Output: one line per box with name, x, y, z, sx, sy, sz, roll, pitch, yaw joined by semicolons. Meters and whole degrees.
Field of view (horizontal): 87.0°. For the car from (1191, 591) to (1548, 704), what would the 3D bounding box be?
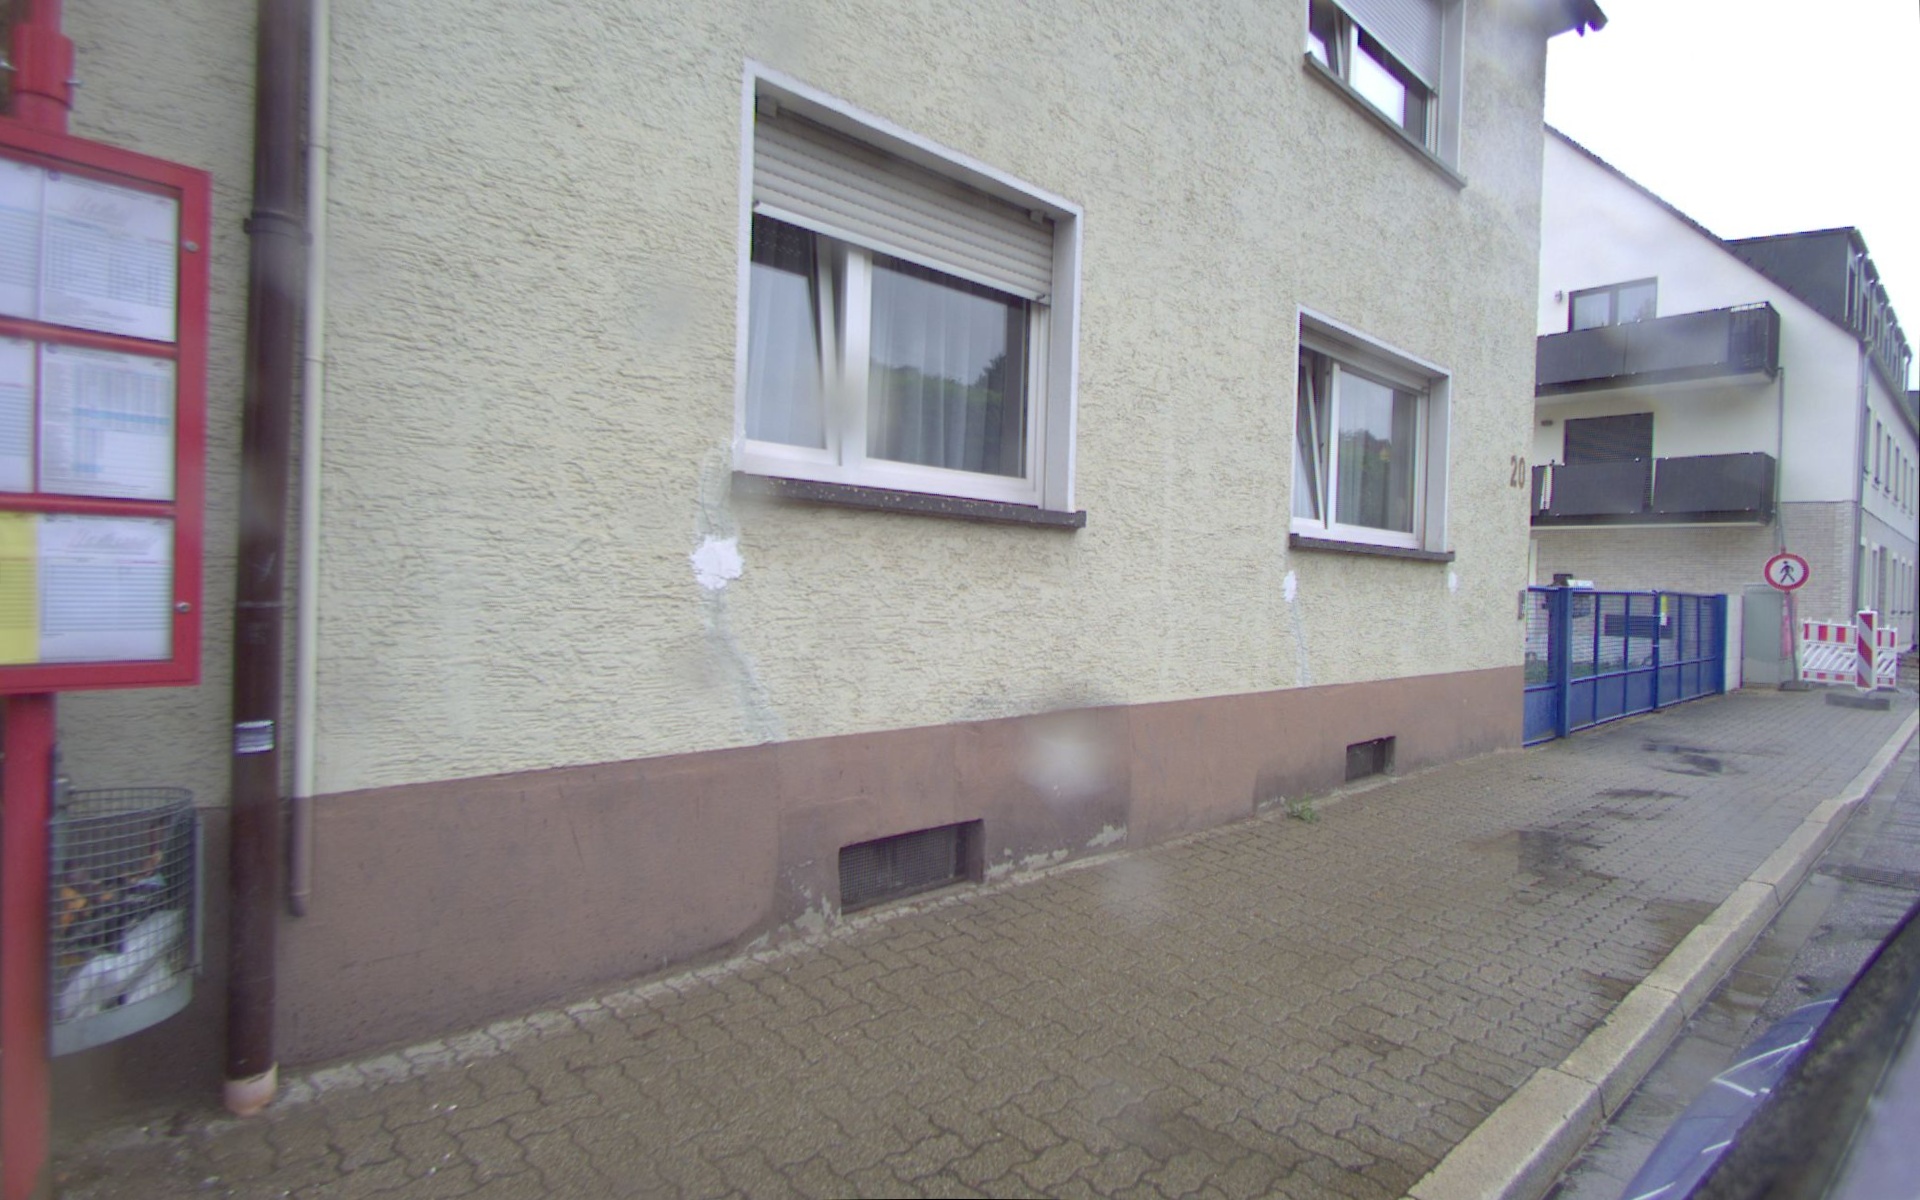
car;5.473;0.603;13.929;1.880;1.319;4.148;0;-1;-42
